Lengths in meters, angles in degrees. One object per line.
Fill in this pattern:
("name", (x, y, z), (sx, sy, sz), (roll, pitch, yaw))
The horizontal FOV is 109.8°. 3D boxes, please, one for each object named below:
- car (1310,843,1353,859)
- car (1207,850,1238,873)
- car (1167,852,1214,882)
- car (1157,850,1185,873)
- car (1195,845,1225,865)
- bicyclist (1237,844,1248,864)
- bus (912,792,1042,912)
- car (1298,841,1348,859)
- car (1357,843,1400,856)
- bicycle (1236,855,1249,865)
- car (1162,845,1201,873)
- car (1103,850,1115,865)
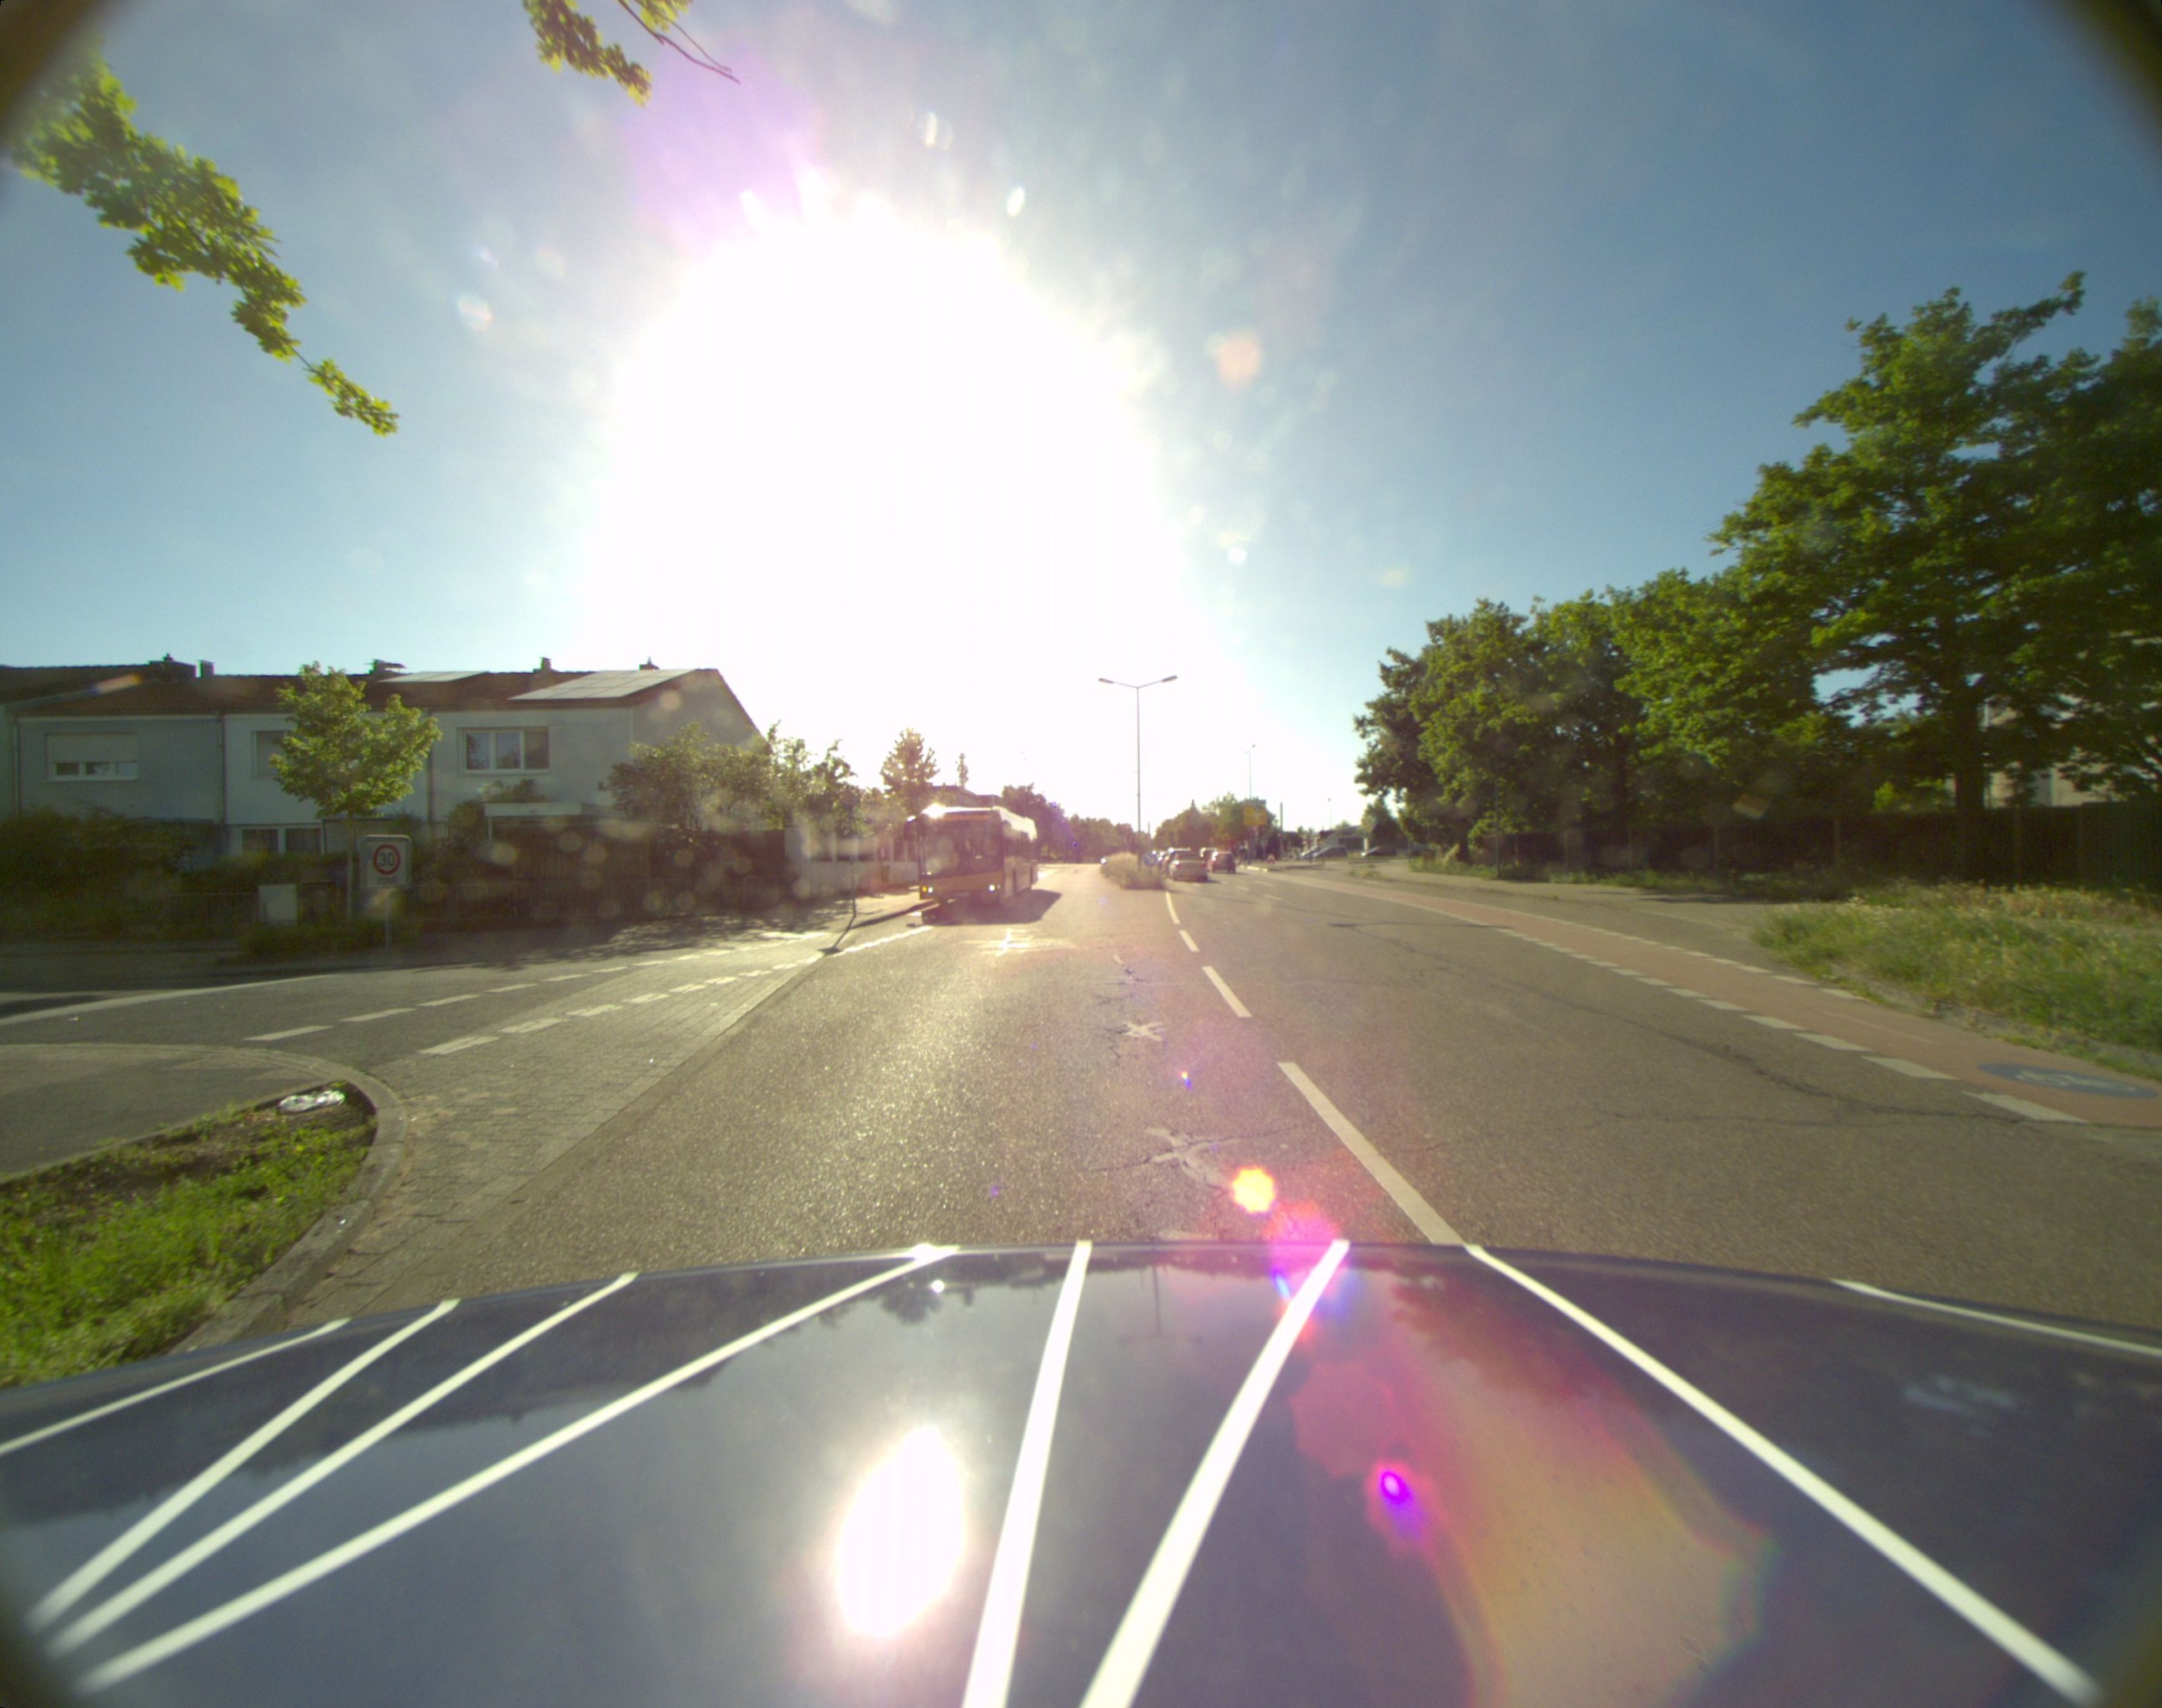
("car", (27.645, -0.357, 83.892), (4.037, 1.634, 1.894), (-1, -2, -1))
("car", (9.749, 0.502, 52.468), (1.649, 1.474, 3.714), (-1, 0, 4))
("car", (5.577, 0.621, 39.301), (1.998, 1.442, 4.400), (-1, 0, 3))
("car", (6.153, 0.490, 52.266), (1.751, 1.474, 3.888), (-1, 0, 4))
("car", (10.700, 0.057, 63.221), (1.998, 1.634, 4.531), (-1, 0, 4))
("bicyclist", (13.892, 0.011, 65.385), (0.746, 1.692, 1.242), (-1, 1, 3))
("bus", (-3.307, -0.182, 28.014), (2.764, 3.439, 12.395), (0, 1, 1))
("car", (28.906, -0.426, 90.935), (5.272, 2.001, 2.048), (-1, -2, -1))
("car", (32.919, -0.472, 84.155), (4.037, 1.267, 1.894), (-1, -2, -1))
("bicycle", (13.892, 0.513, 65.375), (0.750, 0.843, 1.990), (-1, 0, 2))
("car", (6.066, 0.286, 46.177), (1.998, 1.607, 4.531), (-1, 0, 3))
("car", (4.037, 0.499, 110.834), (1.729, 2.002, 4.000), (-1, 1, 2))
